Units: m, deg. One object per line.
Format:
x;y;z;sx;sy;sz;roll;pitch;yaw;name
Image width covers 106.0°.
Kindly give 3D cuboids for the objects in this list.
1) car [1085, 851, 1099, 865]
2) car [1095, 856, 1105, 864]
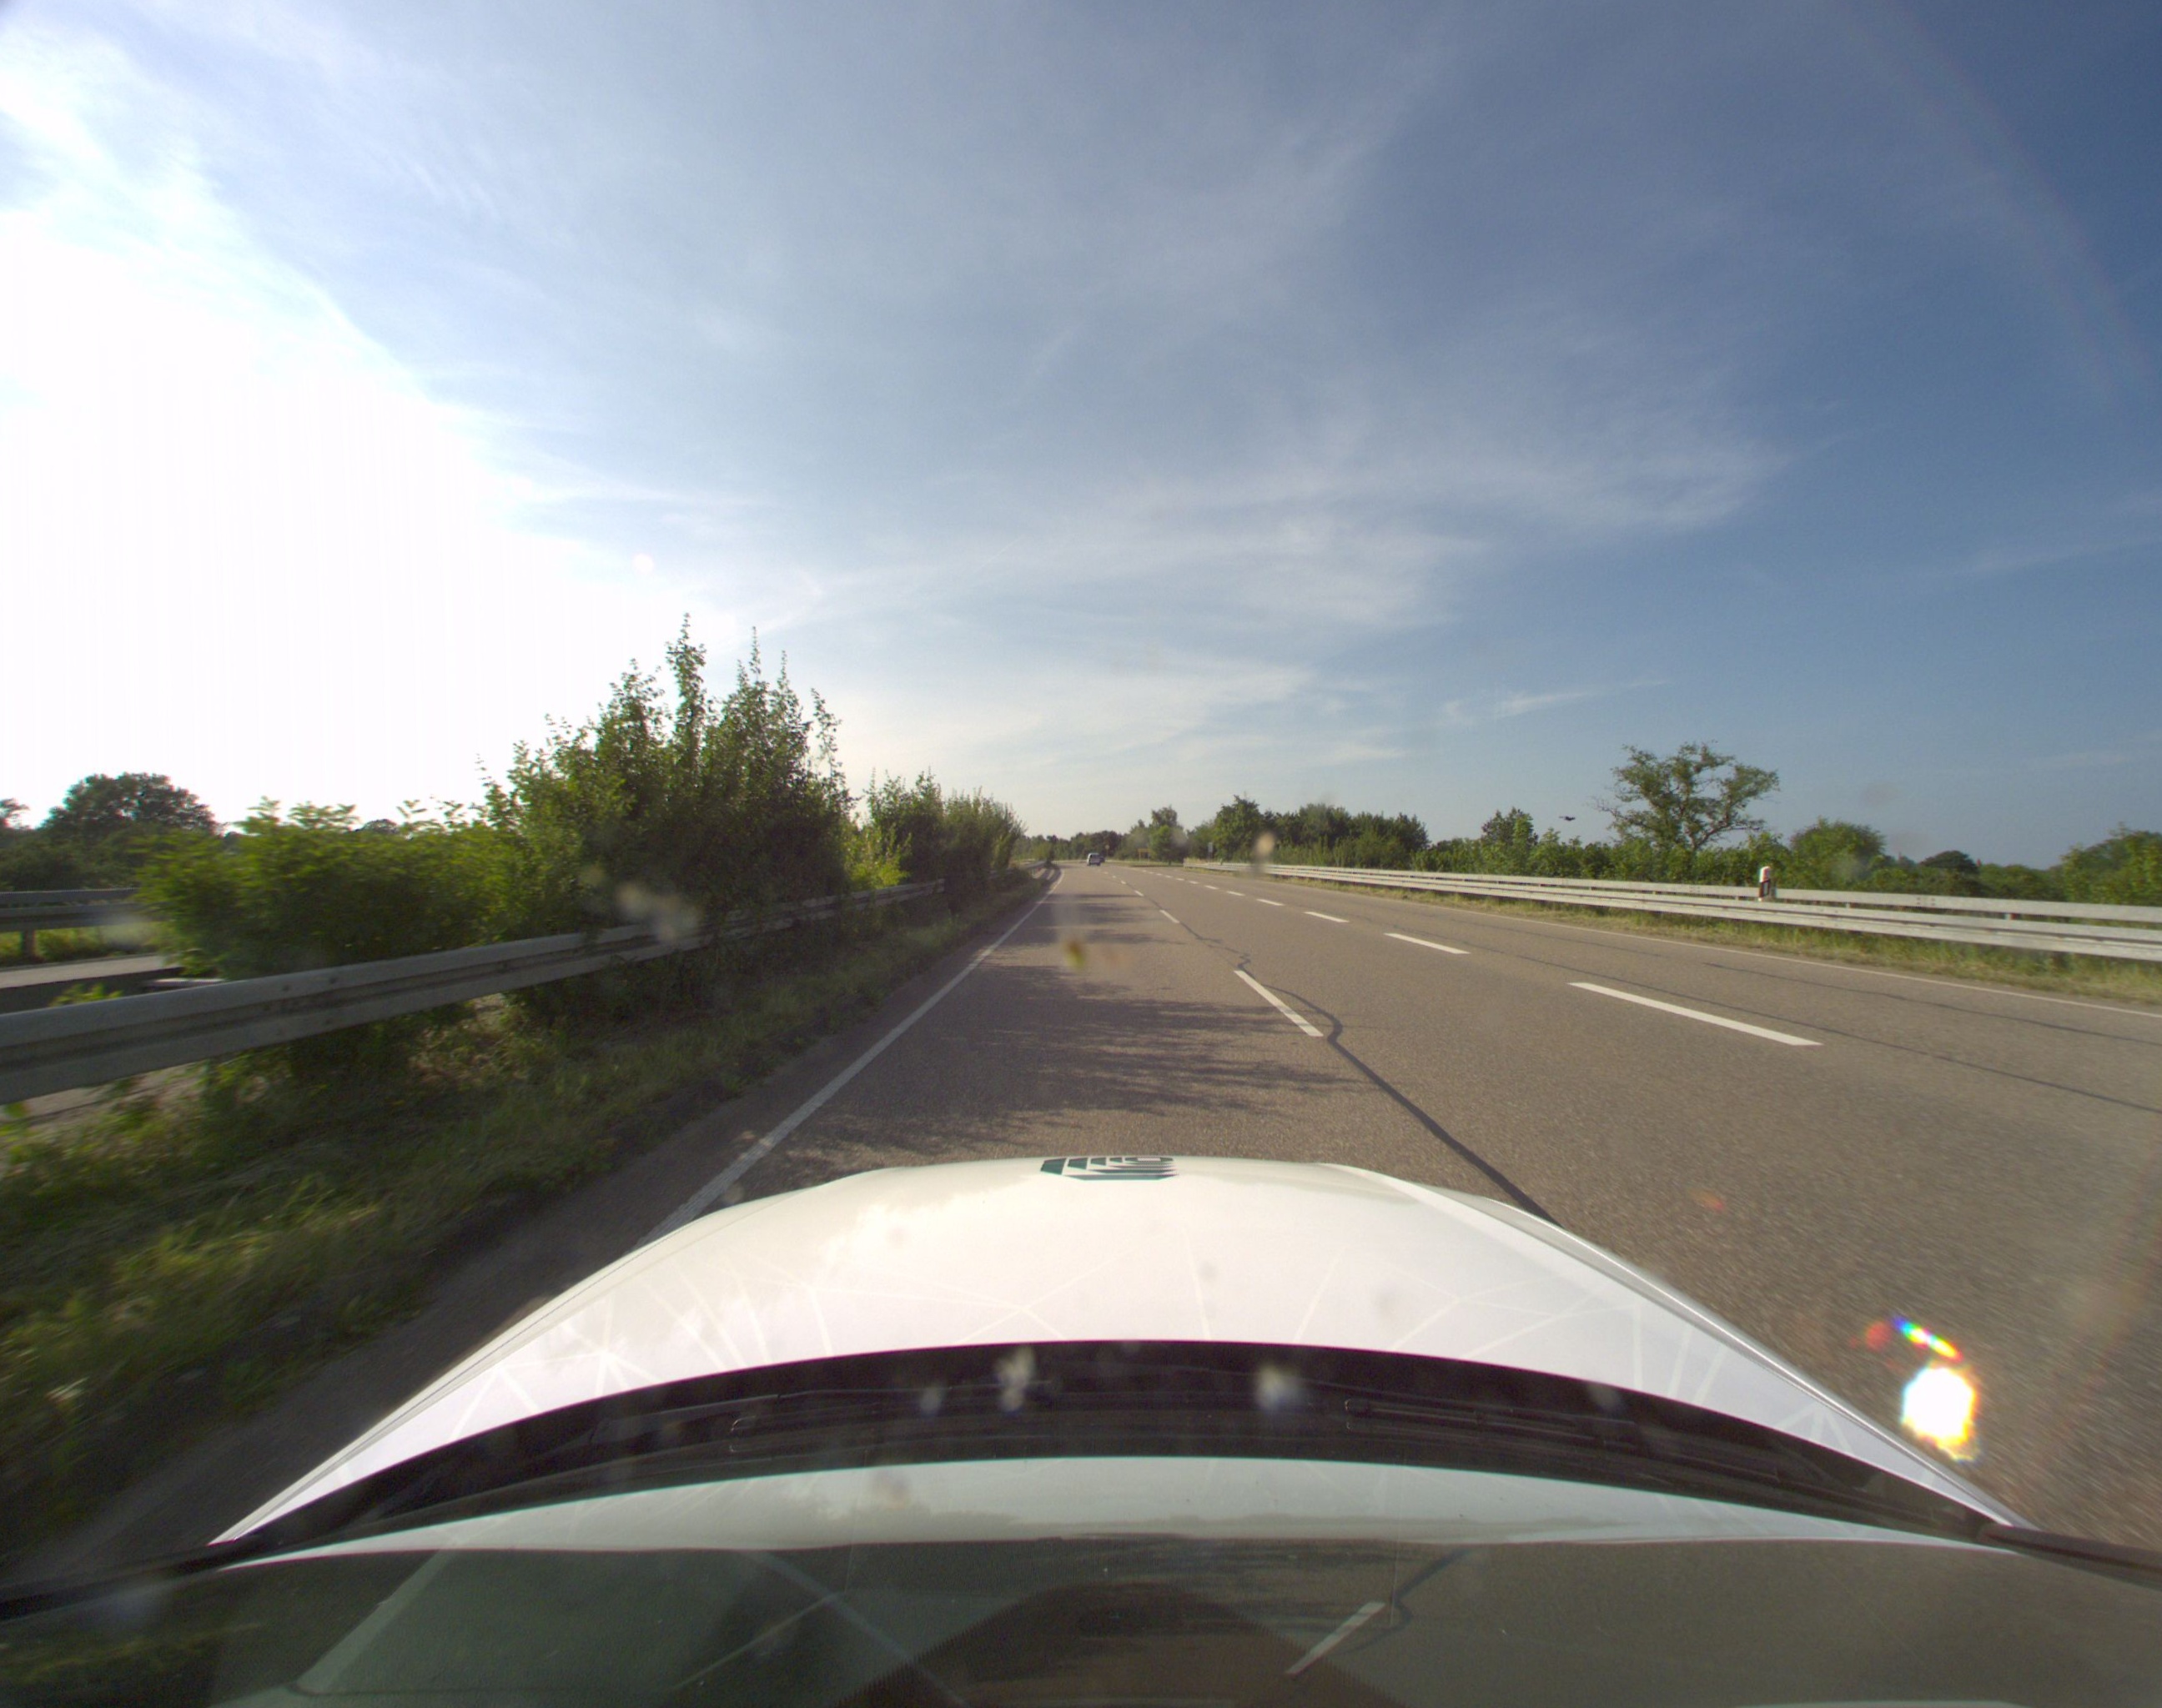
1.584;0.630;116.743;1.762;1.882;3.995;-1;-1;-3;car
3.790;1.135;162.959;1.775;1.452;3.995;-1;-2;-3;car
